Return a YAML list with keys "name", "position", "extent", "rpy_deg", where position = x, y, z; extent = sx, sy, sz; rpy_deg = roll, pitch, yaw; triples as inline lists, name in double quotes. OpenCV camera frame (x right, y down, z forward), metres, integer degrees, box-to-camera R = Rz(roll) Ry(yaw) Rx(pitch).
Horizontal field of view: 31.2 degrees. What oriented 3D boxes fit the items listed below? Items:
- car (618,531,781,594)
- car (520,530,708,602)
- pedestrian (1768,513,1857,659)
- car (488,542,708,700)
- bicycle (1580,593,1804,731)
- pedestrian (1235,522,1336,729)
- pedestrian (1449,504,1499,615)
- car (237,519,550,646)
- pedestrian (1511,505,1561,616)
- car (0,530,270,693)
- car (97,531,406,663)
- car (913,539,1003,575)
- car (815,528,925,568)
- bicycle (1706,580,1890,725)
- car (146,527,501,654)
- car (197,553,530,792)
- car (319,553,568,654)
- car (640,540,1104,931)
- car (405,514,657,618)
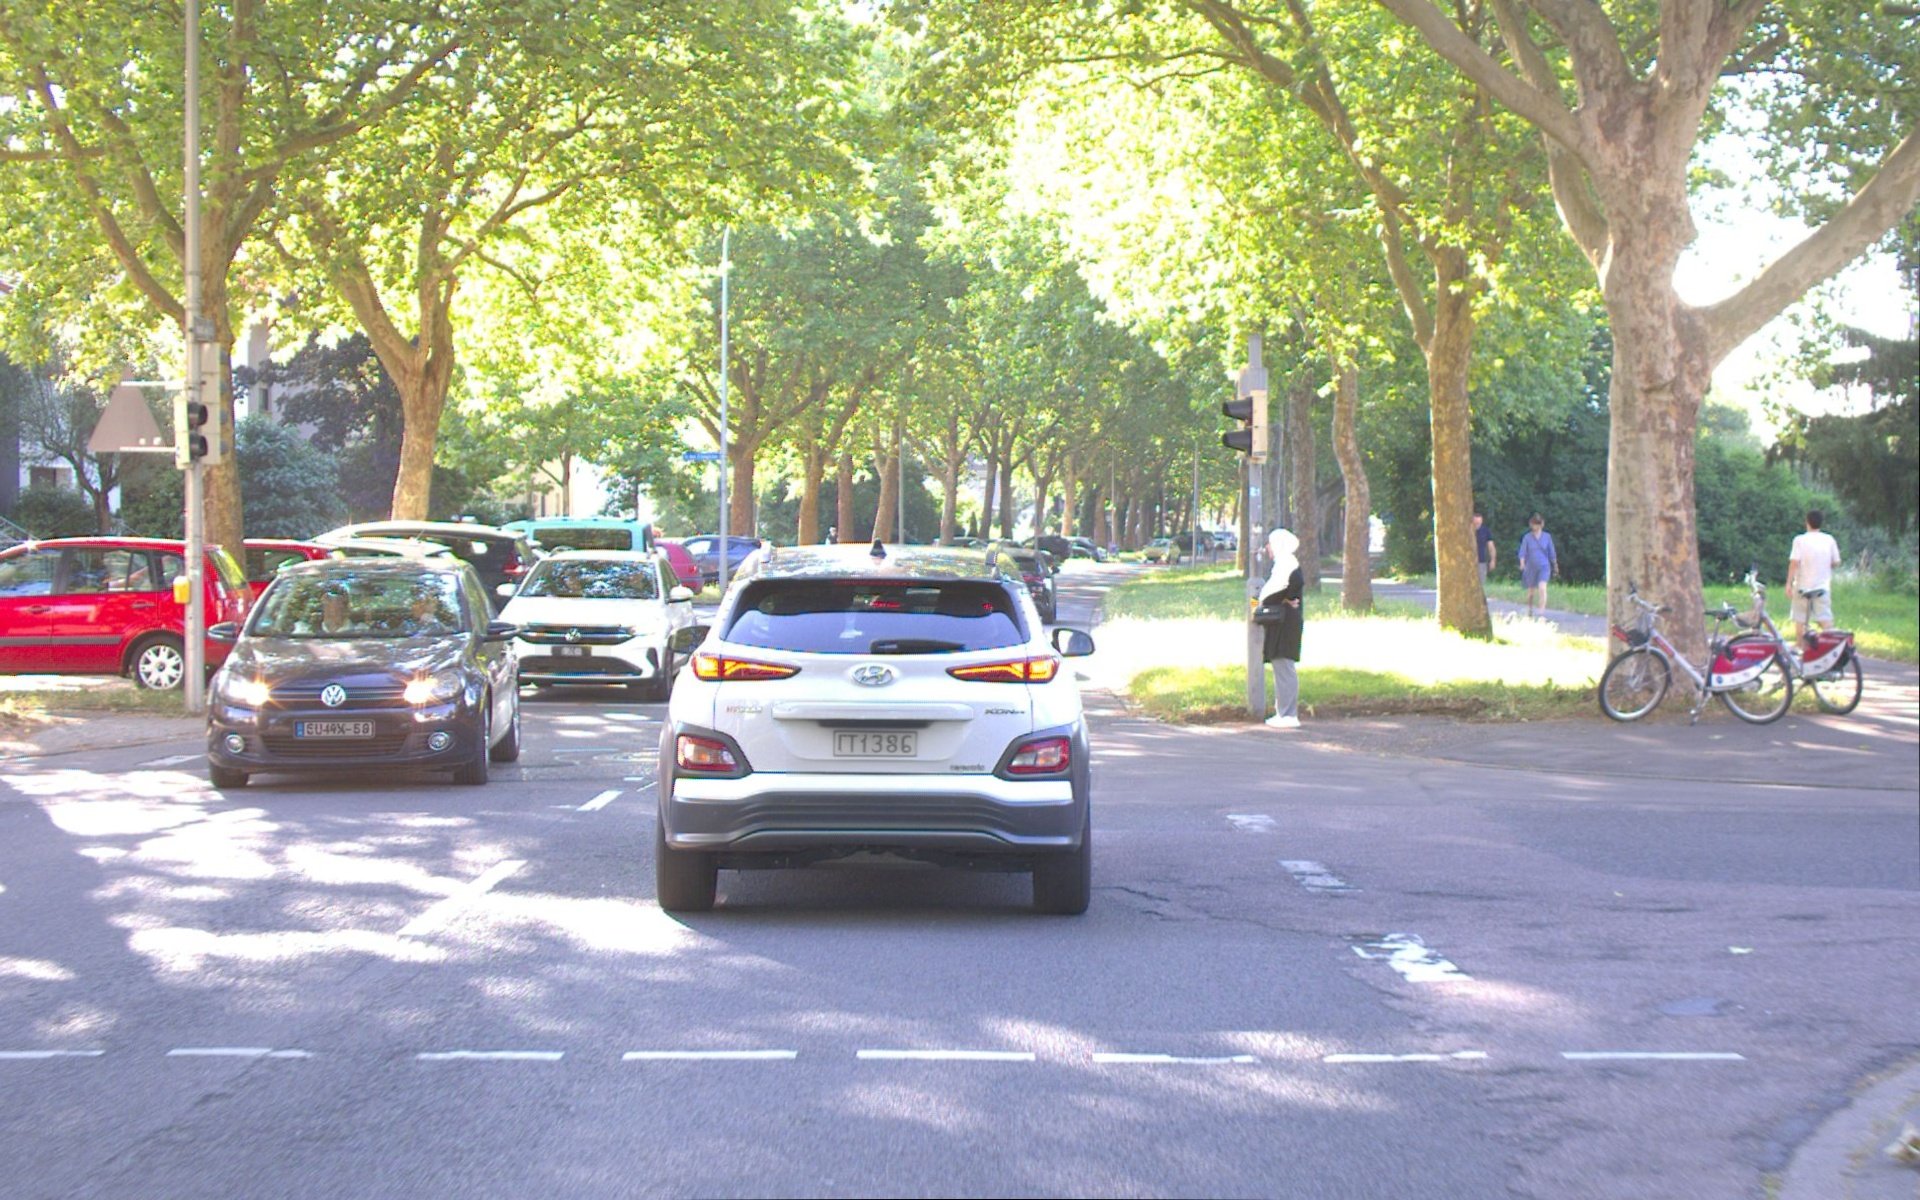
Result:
- name: "car"
  position: [-6.585, -0.964, 87.318]
  extent: [3.988, 1.513, 1.817]
  rpy_deg: [1, 1, 0]
- name: "car"
  position: [-7.373, -0.726, 73.488]
  extent: [3.871, 1.513, 1.665]
  rpy_deg: [0, 1, 0]
- name: "pedestrian"
  position: [9.706, -0.168, 39.149]
  extent: [0.779, 1.644, 0.939]
  rpy_deg: [0, 1, 0]
- name: "car"
  position: [-3.644, 0.165, 35.216]
  extent: [1.716, 1.496, 4.094]
  rpy_deg: [1, 1, 1]
- name: "bicycle"
  position: [5.873, 0.485, 27.640]
  extent: [1.718, 1.031, 0.445]
  rpy_deg: [1, 4, 36]
- name: "pedestrian"
  position: [2.760, 0.201, 29.211]
  extent: [0.634, 1.713, 0.826]
  rpy_deg: [-2, 1, -7]
- name: "pedestrian"
  position: [8.589, -0.678, 57.449]
  extent: [0.761, 1.839, 0.787]
  rpy_deg: [0, 1, 4]
- name: "car"
  position: [-7.960, -0.256, 48.574]
  extent: [4.091, 1.710, 1.831]
  rpy_deg: [1, 1, 1]
- name: "pedestrian"
  position: [9.601, -0.662, 57.310]
  extent: [0.754, 1.841, 0.802]
  rpy_deg: [0, 1, 4]
- name: "car"
  position: [-8.837, 0.084, 33.757]
  extent: [3.764, 1.529, 1.832]
  rpy_deg: [1, 1, -1]
- name: "car"
  position: [-8.467, -0.054, 41.265]
  extent: [3.339, 1.475, 1.695]
  rpy_deg: [1, 1, -1]
- name: "car"
  position: [-0.084, -2.041, 162.944]
  extent: [4.183, 1.579, 2.000]
  rpy_deg: [1, 1, 3]
- name: "car"
  position: [-3.273, -1.905, 125.482]
  extent: [3.826, 1.311, 1.790]
  rpy_deg: [2, 2, 4]
- name: "bicycle"
  position: [6.936, 0.413, 28.551]
  extent: [0.445, 1.079, 2.009]
  rpy_deg: [-2, 3, -19]
- name: "car"
  position: [-8.030, -0.131, 43.650]
  extent: [4.161, 1.496, 1.876]
  rpy_deg: [1, 1, -1]
- name: "car"
  position: [-3.898, 0.414, 23.054]
  extent: [1.726, 1.459, 4.069]
  rpy_deg: [0, 1, -3]
- name: "car"
  position: [-8.173, 0.044, 54.580]
  extent: [3.642, 1.511, 1.782]
  rpy_deg: [1, 1, 1]
- name: "car"
  position: [-0.404, 0.518, 15.662]
  extent: [1.835, 1.550, 4.000]
  rpy_deg: [0, 1, -2]
- name: "car"
  position: [-7.888, -0.638, 63.530]
  extent: [4.385, 1.818, 1.996]
  rpy_deg: [1, 1, 0]
